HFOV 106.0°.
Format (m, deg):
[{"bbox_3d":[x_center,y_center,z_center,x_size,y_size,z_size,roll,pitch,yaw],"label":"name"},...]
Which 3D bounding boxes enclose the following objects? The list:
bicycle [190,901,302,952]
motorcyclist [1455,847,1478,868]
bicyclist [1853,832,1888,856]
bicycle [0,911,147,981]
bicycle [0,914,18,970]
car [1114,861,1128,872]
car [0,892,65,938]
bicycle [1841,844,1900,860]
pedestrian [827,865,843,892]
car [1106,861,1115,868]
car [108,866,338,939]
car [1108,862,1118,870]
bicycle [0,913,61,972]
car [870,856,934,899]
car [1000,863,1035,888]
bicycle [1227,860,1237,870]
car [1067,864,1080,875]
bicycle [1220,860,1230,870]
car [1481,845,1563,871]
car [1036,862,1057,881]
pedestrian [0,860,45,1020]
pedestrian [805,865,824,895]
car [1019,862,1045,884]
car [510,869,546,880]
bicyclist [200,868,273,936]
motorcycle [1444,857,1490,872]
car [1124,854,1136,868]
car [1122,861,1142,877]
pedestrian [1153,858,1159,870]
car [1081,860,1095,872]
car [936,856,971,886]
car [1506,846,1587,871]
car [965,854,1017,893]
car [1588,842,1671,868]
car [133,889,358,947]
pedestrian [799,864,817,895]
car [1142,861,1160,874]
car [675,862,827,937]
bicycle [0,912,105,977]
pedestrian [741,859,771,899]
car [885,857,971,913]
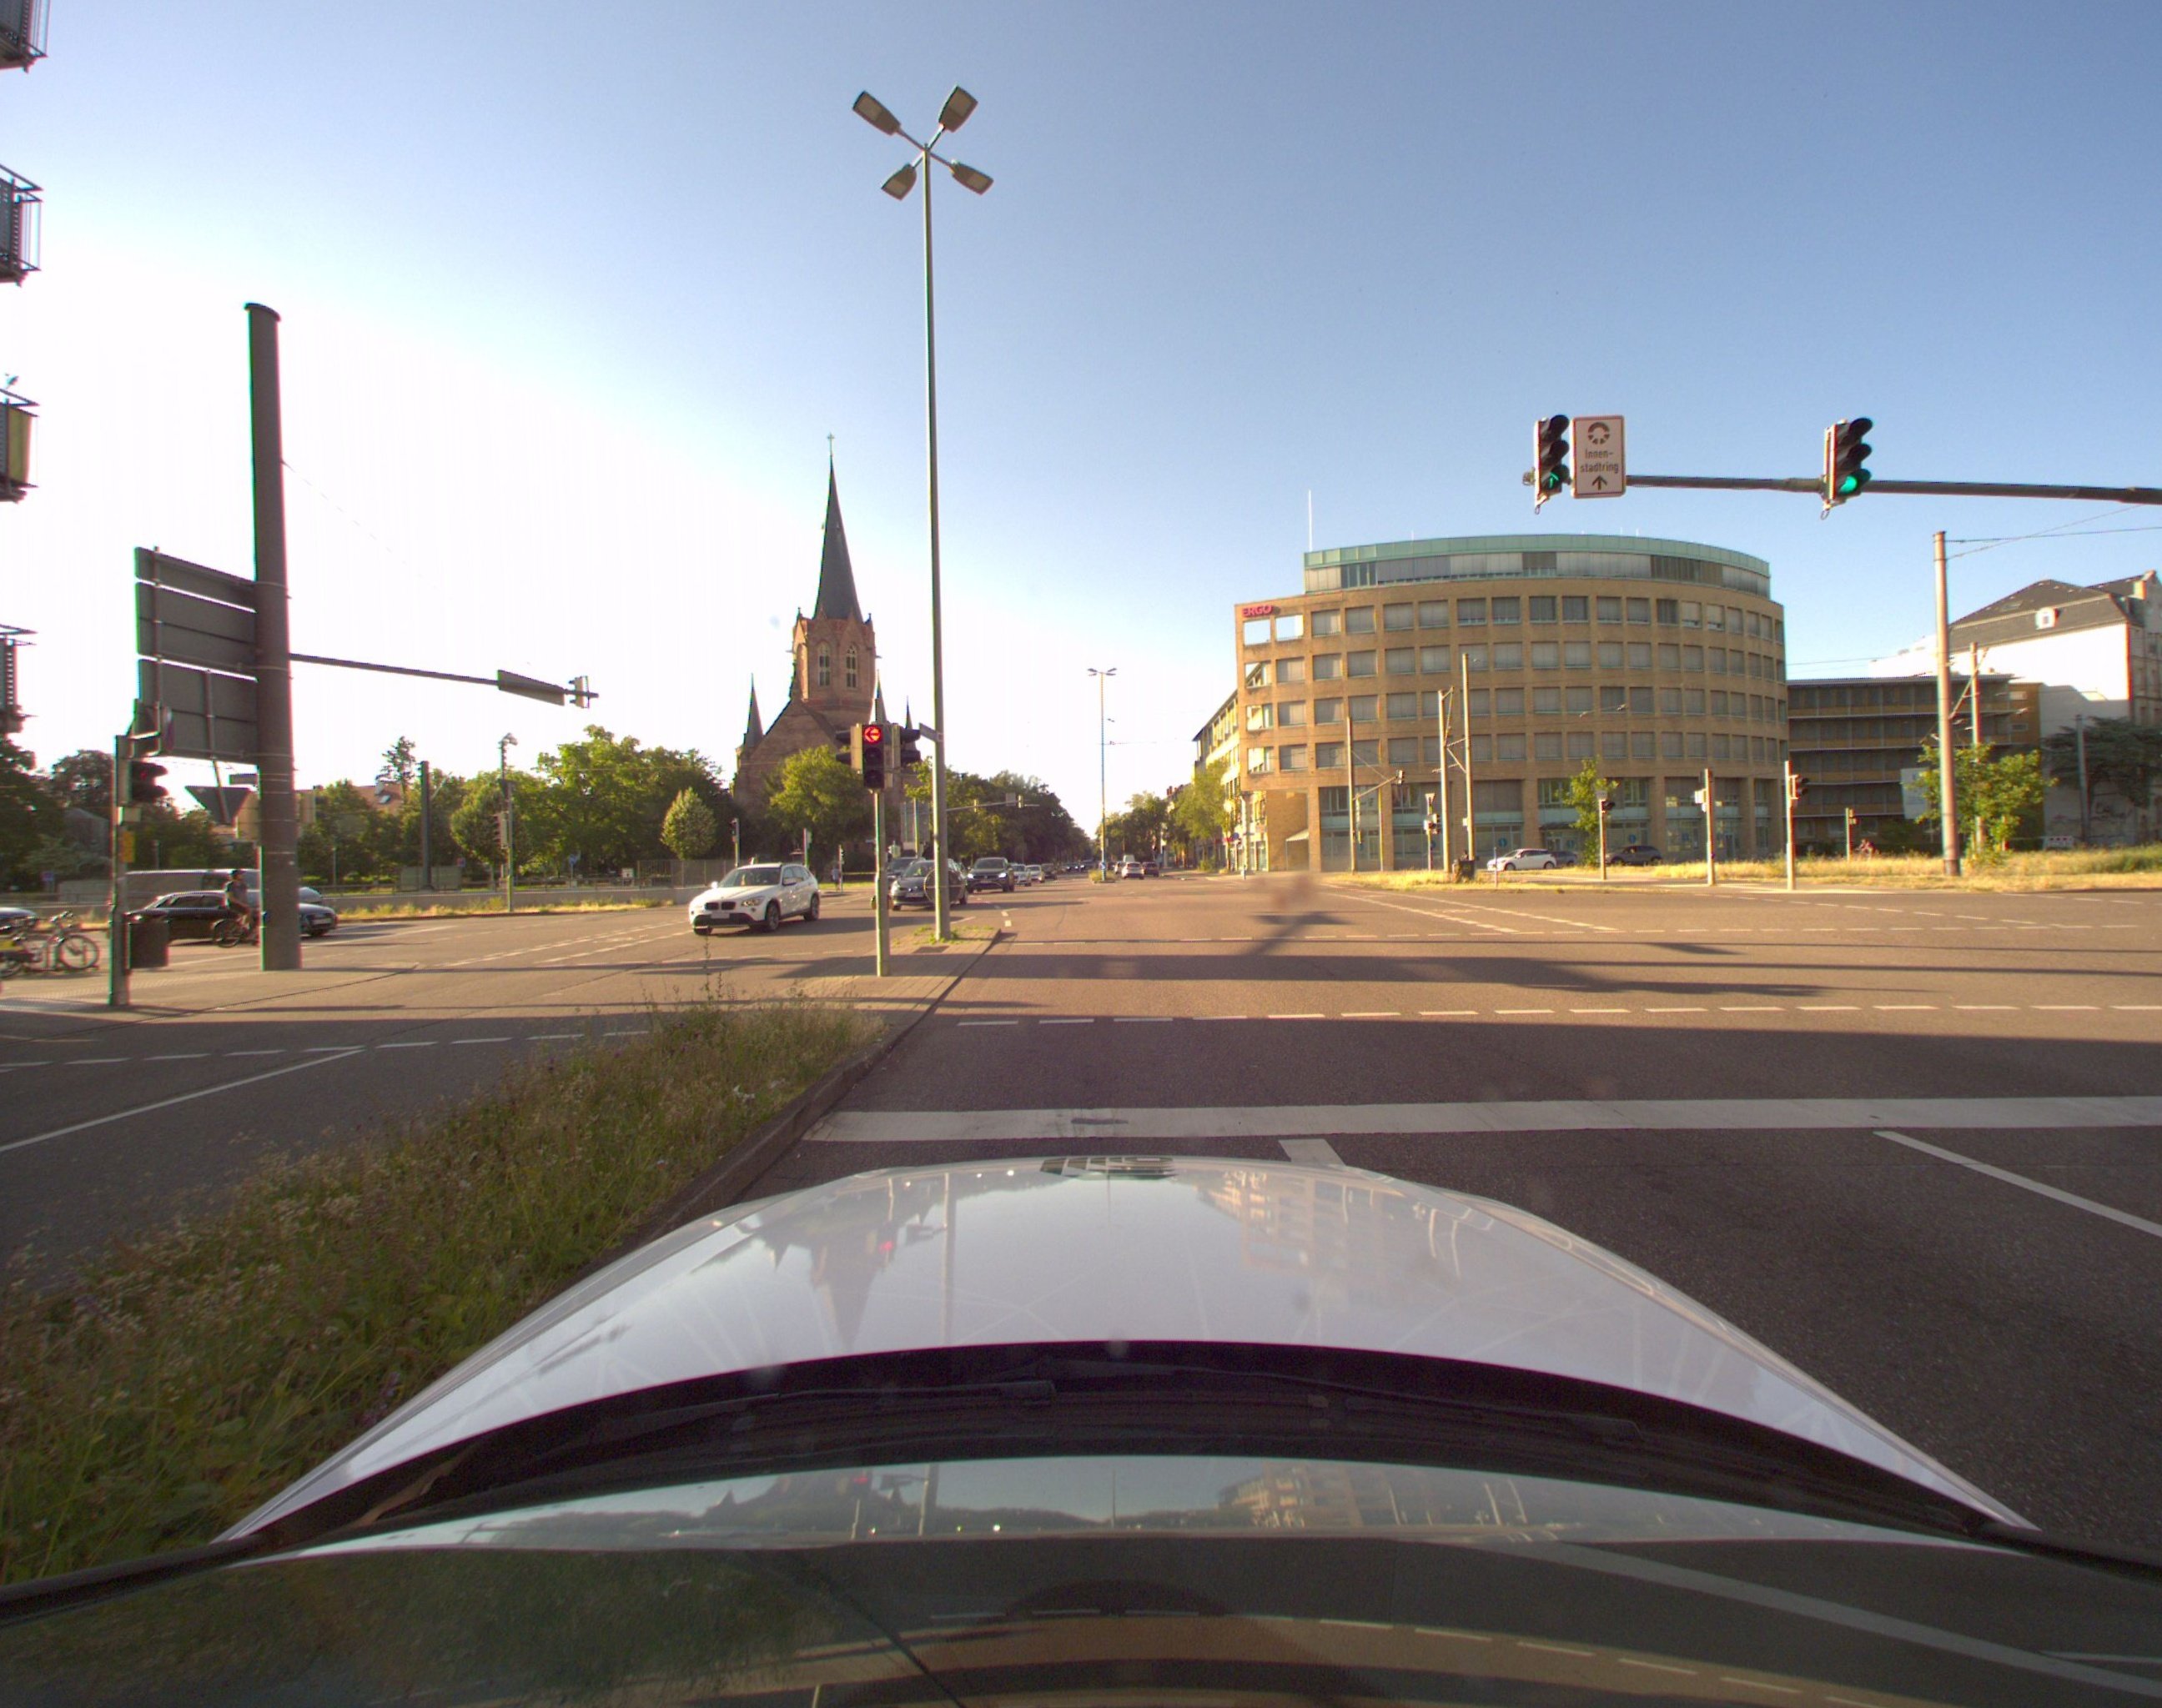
[{"bbox_3d":[-20.843,1.790,20.358,1.770,1.097,0.952,-3,0,1],"label":"bicycle"},{"bbox_3d":[27.096,0.278,57.242,1.061,1.435,1.032,-2,-1,0],"label":"motorcyclist"},{"bbox_3d":[53.761,-0.664,55.436,1.219,1.572,1.154,-2,-1,-1],"label":"bicyclist"},{"bbox_3d":[-18.759,1.650,14.864,0.732,1.051,2.300,-2,0,1],"label":"bicycle"},{"bbox_3d":[-21.168,1.706,14.771,0.732,1.051,2.300,-2,-1,1],"label":"bicycle"},{"bbox_3d":[4.758,1.492,97.733,1.589,1.267,3.268,-2,0,2],"label":"car"},{"bbox_3d":[-35.135,1.972,25.643,3.889,1.374,1.800,-2,-1,-1],"label":"car"},{"bbox_3d":[53.731,-0.131,55.433,2.951,1.000,1.154,-2,-1,-1],"label":"bicycle"},{"bbox_3d":[-16.154,1.596,53.524,0.841,1.696,1.014,0,-1,-7],"label":"pedestrian"},{"bbox_3d":[5.382,1.893,147.708,1.589,1.267,3.268,-2,0,2],"label":"car"},{"bbox_3d":[-26.673,1.476,25.456,4.908,2.014,1.999,-2,-1,-1],"label":"car"},{"bbox_3d":[5.263,1.946,135.128,1.589,1.267,3.268,-2,0,2],"label":"car"},{"bbox_3d":[-20.377,1.674,14.804,0.732,1.051,2.300,-2,-1,1],"label":"bicycle"},{"bbox_3d":[-7.547,0.942,34.770,1.714,1.628,4.102,-3,0,1],"label":"car"},{"bbox_3d":[-4.012,1.332,51.756,1.702,1.425,4.103,-3,0,1],"label":"car"},{"bbox_3d":[15.002,1.107,81.046,0.644,0.994,2.081,-2,-1,1],"label":"bicycle"},{"bbox_3d":[-1.249,2.548,136.368,1.987,1.724,4.593,-2,-1,1],"label":"car"},{"bbox_3d":[15.095,1.142,85.494,0.644,0.994,2.081,-2,-1,1],"label":"bicycle"},{"bbox_3d":[28.222,0.279,52.190,4.150,1.492,1.994,-2,-1,-1],"label":"car"},{"bbox_3d":[-3.146,1.572,75.259,1.572,1.544,3.478,-3,0,1],"label":"car"},{"bbox_3d":[-12.970,1.009,9.523,0.606,1.875,0.812,1,0,2],"label":"pedestrian"},{"bbox_3d":[-15.315,1.509,46.814,0.842,1.696,1.013,0,-1,-9],"label":"pedestrian"},{"bbox_3d":[-3.870,1.486,64.416,1.669,1.544,3.807,-3,0,1],"label":"car"},{"bbox_3d":[-92.131,3.399,135.624,4.451,1.571,1.993,-2,-1,-11],"label":"car"},{"bbox_3d":[-21.094,1.187,20.357,0.733,1.598,0.963,-3,0,1],"label":"bicyclist"},{"bbox_3d":[27.093,0.708,57.234,2.709,0.964,1.032,-2,-1,0],"label":"motorcycle"},{"bbox_3d":[8.792,1.268,145.568,1.986,2.440,4.001,0,-1,2],"label":"car"},{"bbox_3d":[4.337,1.271,69.259,1.589,1.267,3.268,-2,0,2],"label":"car"},{"bbox_3d":[12.043,1.638,131.314,0.844,1.803,0.776,-2,0,1],"label":"pedestrian"},{"bbox_3d":[1.104,1.883,125.306,1.987,1.724,5.031,-2,-1,1],"label":"car"},{"bbox_3d":[-7.175,0.930,45.952,1.531,1.593,2.806,-3,0,-2],"label":"car"},{"bbox_3d":[32.610,0.325,57.124,4.465,1.537,1.987,-2,-1,2],"label":"car"},{"bbox_3d":[-3.992,0.849,36.661,1.669,1.544,4.104,-3,0,2],"label":"car"},{"bbox_3d":[35.101,0.084,52.200,4.038,1.492,1.820,-2,-1,0],"label":"car"},{"bbox_3d":[-22.683,1.724,22.232,4.175,1.312,1.800,-2,-1,-1],"label":"car"},{"bbox_3d":[-14.783,1.376,44.121,0.706,1.696,0.895,0,-1,-3],"label":"pedestrian"},{"bbox_3d":[7.249,1.371,84.455,1.589,1.267,3.268,-2,0,2],"label":"car"},{"bbox_3d":[-7.780,0.999,19.688,1.746,1.488,4.250,-3,0,2],"label":"car"},{"bbox_3d":[-19.565,1.672,14.840,0.732,1.051,2.300,-2,-1,1],"label":"bicycle"},{"bbox_3d":[-14.429,1.089,36.184,0.962,1.739,0.812,-1,-1,-1],"label":"pedestrian"},{"bbox_3d":[-4.585,0.878,24.976,1.585,1.471,3.989,-3,0,4],"label":"car"}]
